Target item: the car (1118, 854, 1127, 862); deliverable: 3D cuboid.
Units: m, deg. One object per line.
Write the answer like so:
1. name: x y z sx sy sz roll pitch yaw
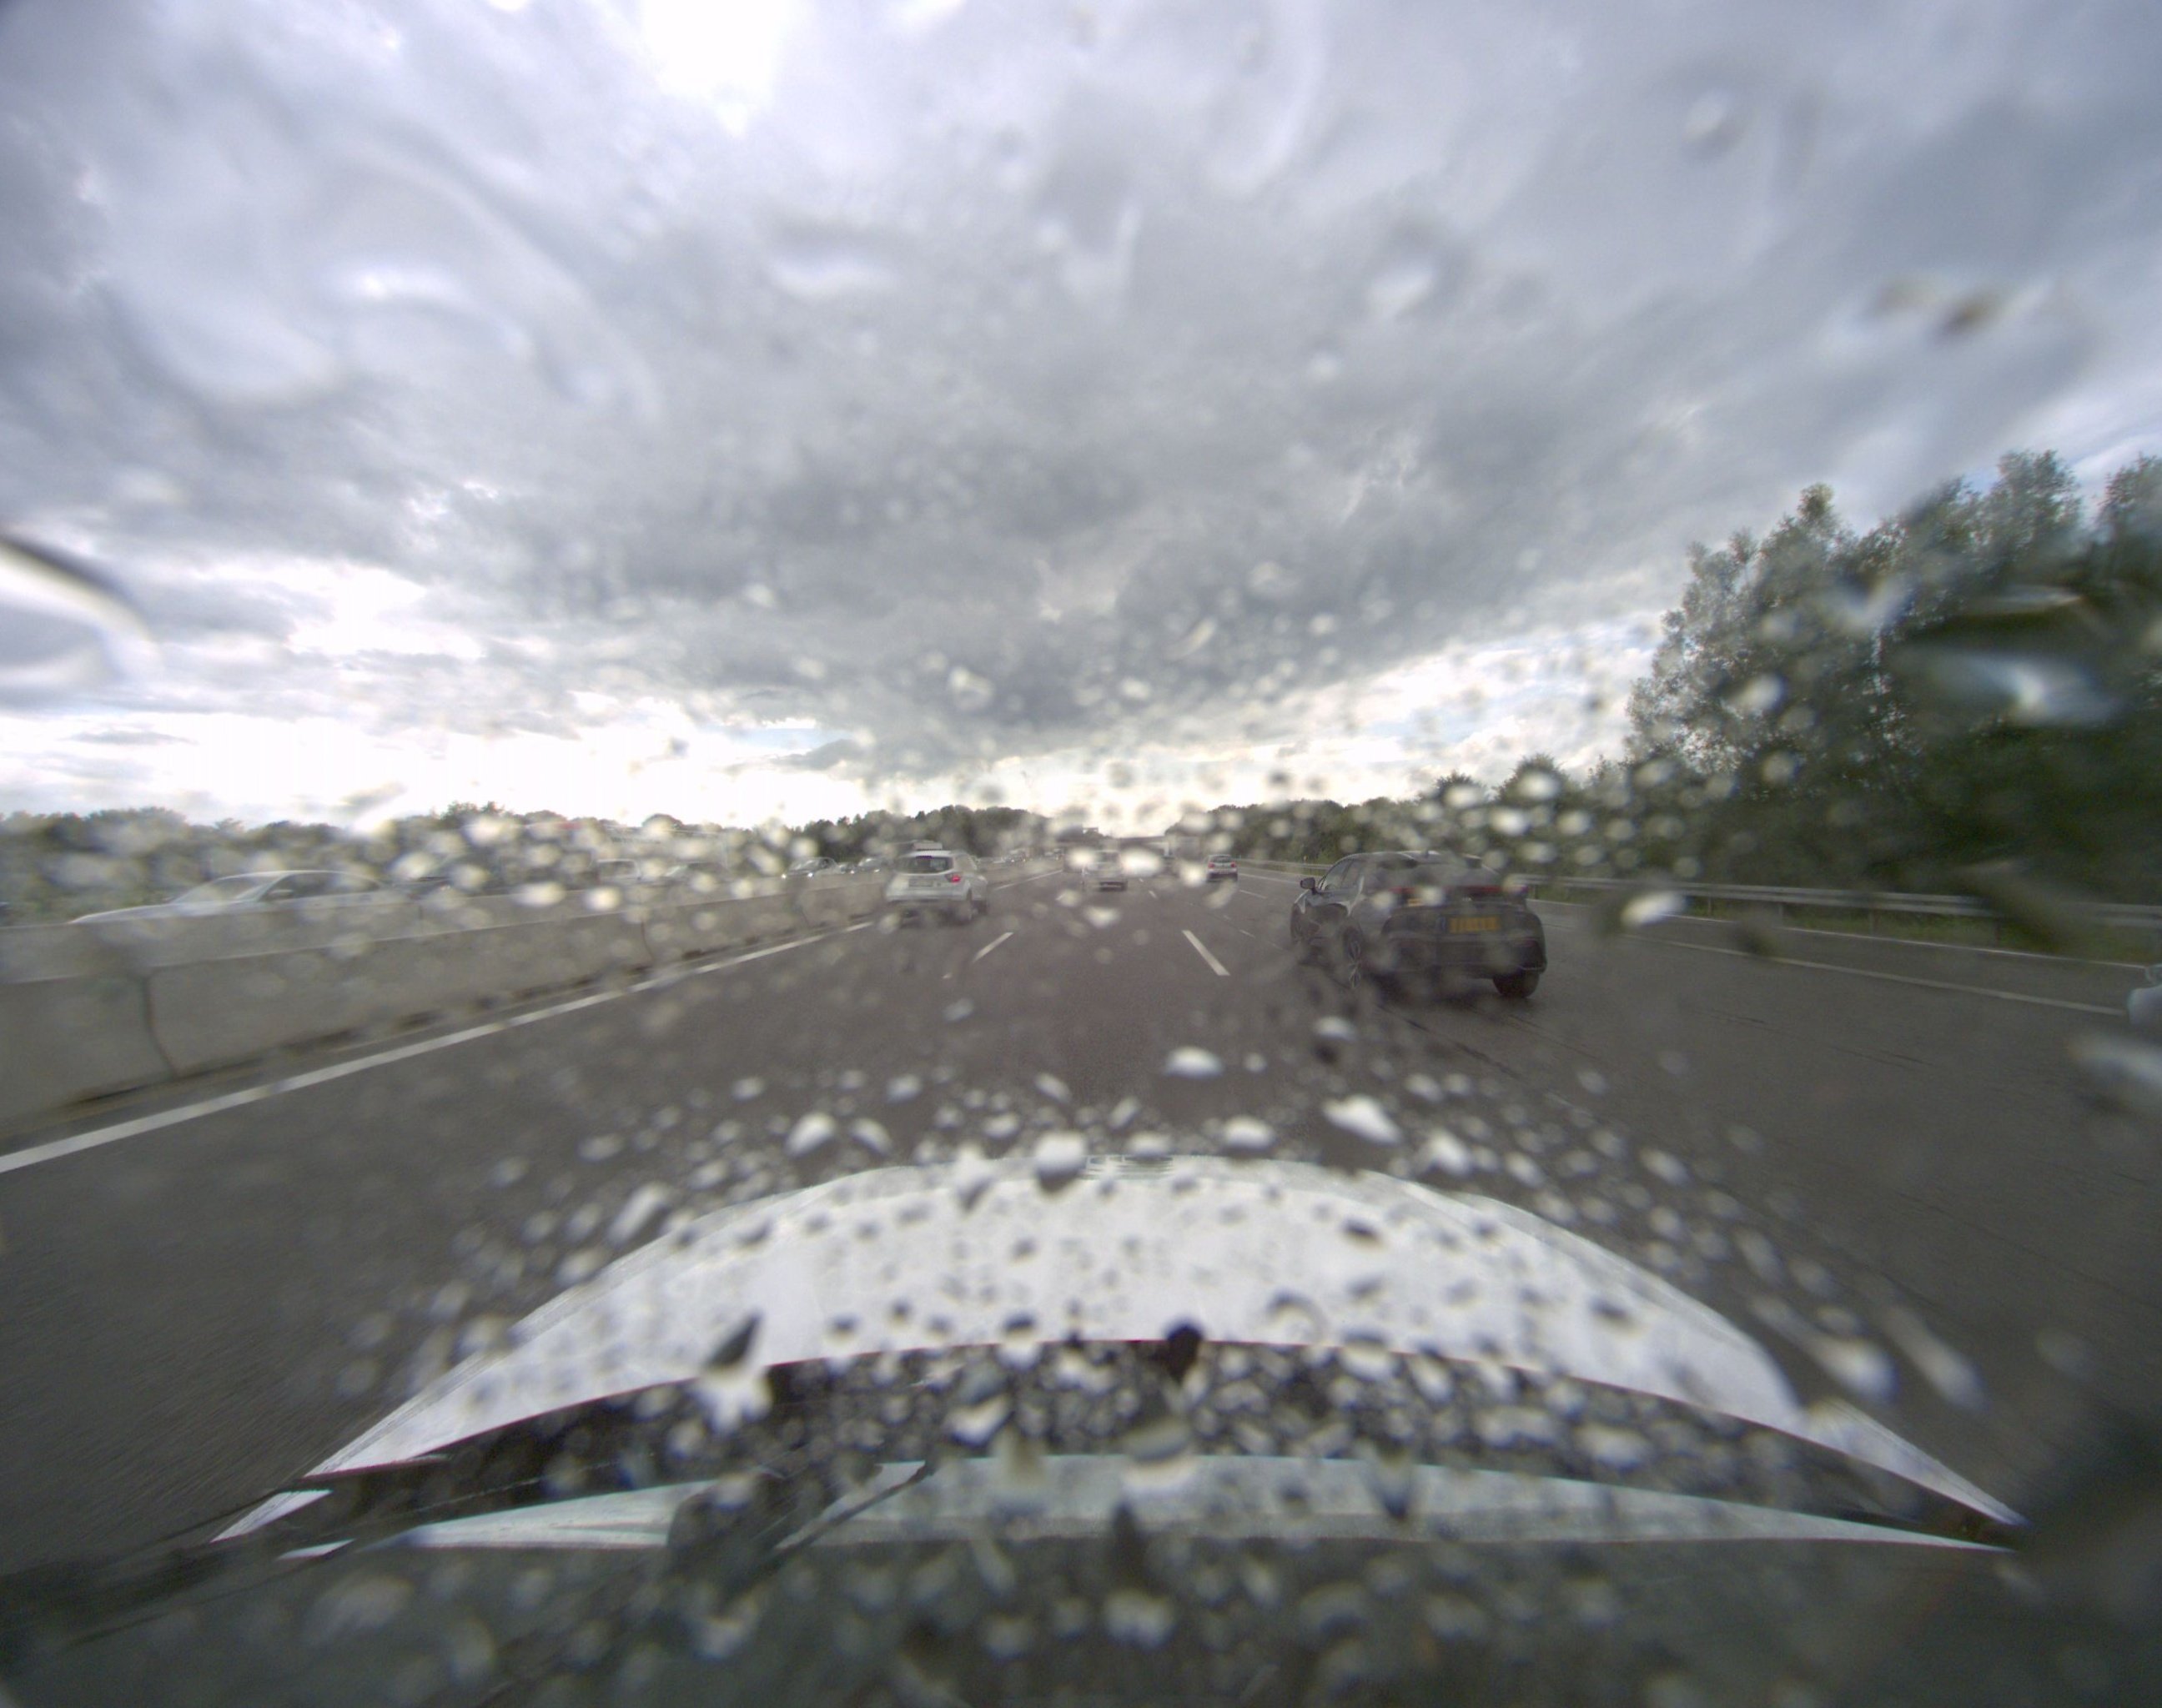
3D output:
1. car: 9.944 0.938 195.510 1.874 1.686 4.001 -1 0 1

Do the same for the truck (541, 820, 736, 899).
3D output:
1. truck: -24.128 0.271 45.813 3.136 3.745 13.308 -1 0 3

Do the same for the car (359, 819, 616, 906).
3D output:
1. car: -16.876 0.216 23.897 2.250 2.165 6.822 -1 0 3

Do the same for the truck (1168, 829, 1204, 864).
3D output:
1. truck: 11.585 -0.775 90.833 3.120 3.709 9.854 -1 0 3

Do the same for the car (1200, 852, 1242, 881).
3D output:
1. car: 7.736 0.666 45.330 1.788 1.477 4.041 -1 0 3

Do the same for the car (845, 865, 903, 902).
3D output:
1. car: -12.143 1.671 48.037 1.985 1.967 4.700 -1 0 3

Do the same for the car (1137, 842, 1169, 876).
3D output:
1. car: 6.444 0.401 74.009 2.556 2.895 7.539 -1 0 3

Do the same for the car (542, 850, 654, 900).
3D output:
1. car: -20.044 0.824 34.029 1.985 1.948 4.216 -1 0 3

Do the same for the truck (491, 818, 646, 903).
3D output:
1. truck: -24.393 0.296 39.218 3.137 3.712 6.324 -1 0 3

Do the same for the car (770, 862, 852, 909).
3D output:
1. car: -12.275 1.372 37.378 1.985 1.967 4.700 -1 0 3

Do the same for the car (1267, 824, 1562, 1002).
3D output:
1. car: 3.589 0.542 9.788 1.774 1.613 4.600 -1 0 2

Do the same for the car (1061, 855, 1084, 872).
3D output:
1. car: -0.731 0.834 73.788 1.773 1.481 4.357 -1 0 4

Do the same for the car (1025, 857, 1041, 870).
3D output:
1. car: -7.719 1.531 131.099 1.985 1.904 4.507 -1 0 3

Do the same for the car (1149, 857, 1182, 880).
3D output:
1. car: 5.539 0.951 53.723 1.877 1.407 4.285 -1 0 3

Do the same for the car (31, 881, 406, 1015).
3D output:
1. car: -13.773 1.392 13.435 1.796 1.719 4.003 -1 0 3

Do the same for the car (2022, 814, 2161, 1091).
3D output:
1. car: 7.057 0.553 3.019 1.803 1.599 4.698 -1 0 2

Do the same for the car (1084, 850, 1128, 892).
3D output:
1. car: 1.076 0.706 35.998 1.774 1.716 4.353 -1 0 1

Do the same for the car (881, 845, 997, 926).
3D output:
1. car: -3.280 0.665 19.801 1.808 1.689 4.853 -1 0 1
